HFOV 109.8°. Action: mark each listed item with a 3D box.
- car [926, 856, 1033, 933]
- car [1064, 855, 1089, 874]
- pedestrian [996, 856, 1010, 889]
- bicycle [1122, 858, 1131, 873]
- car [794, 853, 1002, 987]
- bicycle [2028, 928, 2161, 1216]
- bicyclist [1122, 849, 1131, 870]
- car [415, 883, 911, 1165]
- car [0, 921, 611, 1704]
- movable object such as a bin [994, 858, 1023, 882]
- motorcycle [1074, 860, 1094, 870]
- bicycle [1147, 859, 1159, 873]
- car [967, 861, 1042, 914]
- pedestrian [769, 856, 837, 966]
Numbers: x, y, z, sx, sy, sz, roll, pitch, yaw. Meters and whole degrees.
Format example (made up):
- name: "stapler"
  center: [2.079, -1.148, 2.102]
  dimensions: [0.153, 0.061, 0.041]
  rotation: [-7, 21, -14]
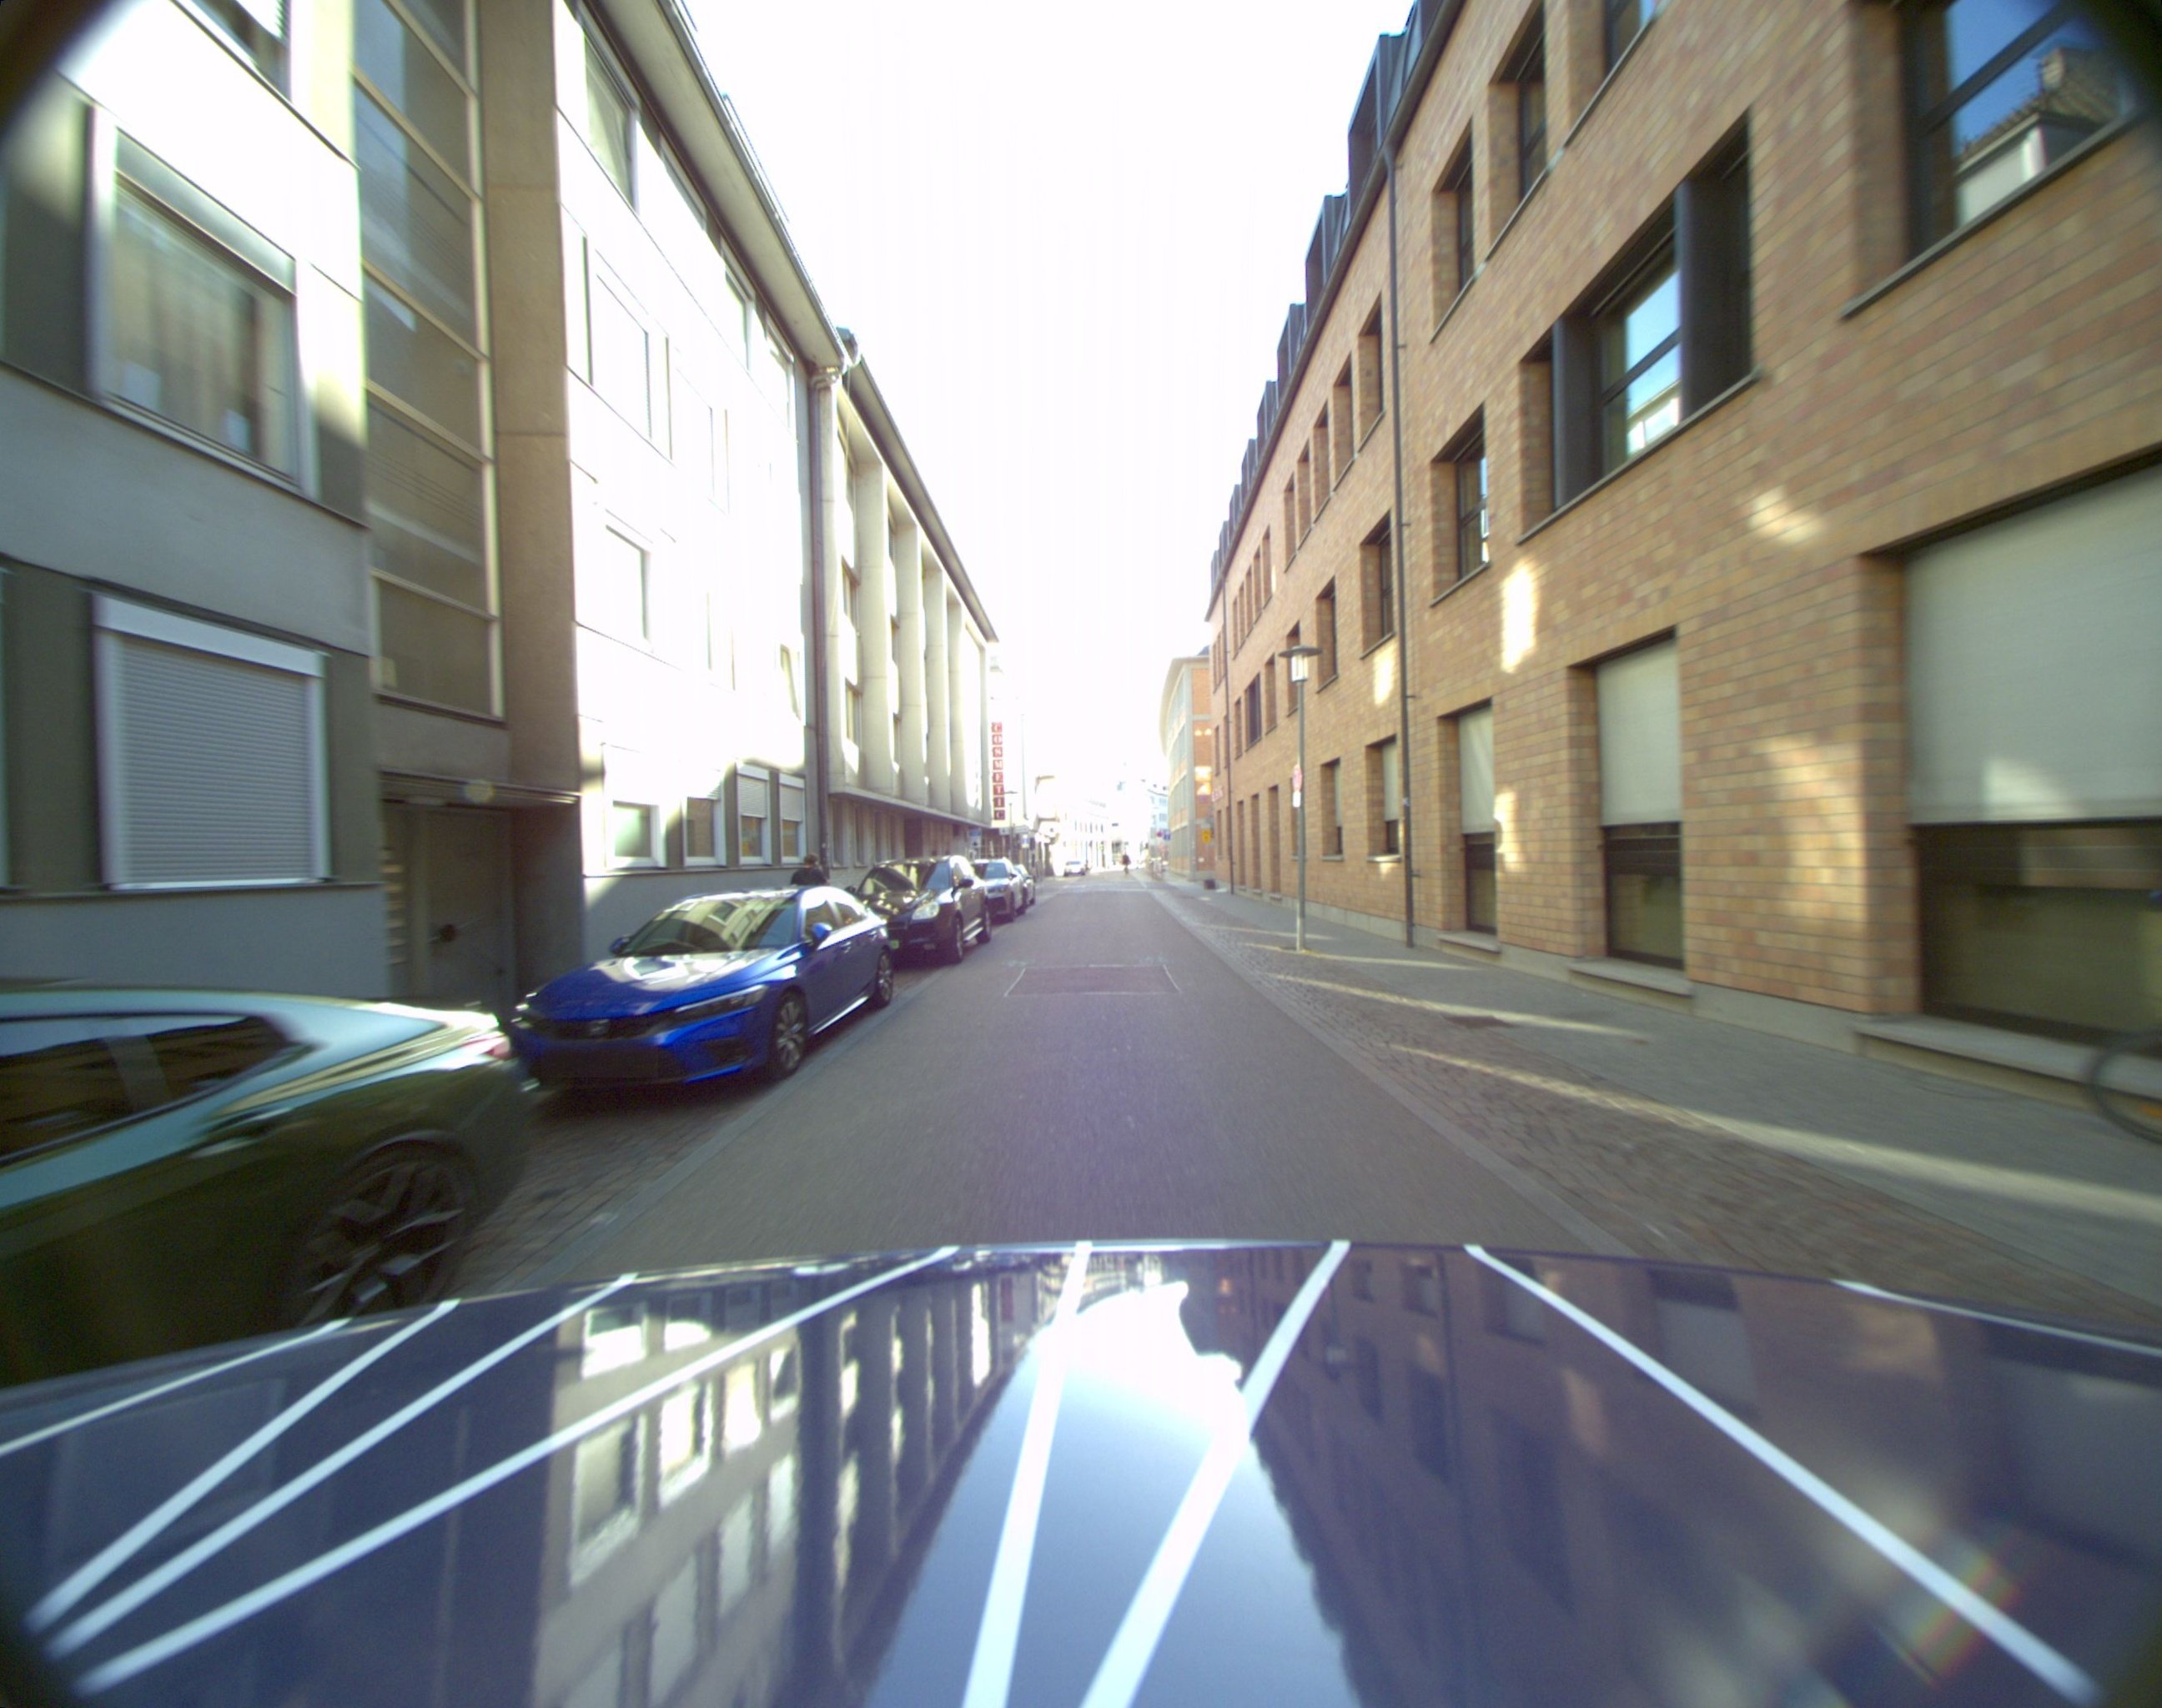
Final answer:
- name: "car"
  center: [-2.586, 0.972, 20.573]
  dimensions: [1.998, 1.692, 4.843]
  rotation: [-4, 0, 2]
- name: "car"
  center: [-0.359, 0.886, 66.344]
  dimensions: [1.846, 1.453, 4.000]
  rotation: [-3, 0, 3]
- name: "pedestrian"
  center: [-3.716, 0.879, 36.104]
  dimensions: [0.574, 1.532, 0.440]
  rotation: [1, 1, -14]
- name: "bicycle"
  center: [3.683, 0.906, 61.522]
  dimensions: [0.652, 1.125, 1.736]
  rotation: [2, 1, 4]
- name: "car"
  center: [-2.831, 0.919, 13.172]
  dimensions: [2.108, 1.775, 5.052]
  rotation: [-3, 0, 2]
- name: "bicycle"
  center: [5.001, 0.955, 2.788]
  dimensions: [0.633, 1.156, 1.803]
  rotation: [-5, 0, -8]
- name: "bicyclist"
  center: [3.699, 0.435, 61.572]
  dimensions: [0.663, 1.633, 0.926]
  rotation: [2, 1, 4]
- name: "car"
  center: [-3.065, 1.126, 6.995]
  dimensions: [1.812, 1.404, 4.790]
  rotation: [-4, 0, 0]
- name: "car"
  center: [-3.240, 1.095, 0.962]
  dimensions: [1.899, 1.444, 5.225]
  rotation: [-3, 0, 1]
- name: "movable object such as a bin"
  center: [-4.670, 1.028, 48.997]
  dimensions: [1.437, 1.454, 1.126]
  rotation: [-2, 0, -39]
- name: "motorcycle"
  center: [0.299, 1.159, 77.454]
  dimensions: [1.995, 0.950, 0.646]
  rotation: [-2, 1, 17]
- name: "bicycle"
  center: [5.779, 0.972, 60.865]
  dimensions: [0.628, 1.047, 1.822]
  rotation: [-2, 0, -4]
- name: "car"
  center: [-2.504, 1.064, 25.992]
  dimensions: [1.827, 1.496, 4.600]
  rotation: [-4, 0, 2]
- name: "pedestrian"
  center: [-4.483, 0.895, 12.295]
  dimensions: [0.790, 1.711, 0.746]
  rotation: [1, 1, 1]
